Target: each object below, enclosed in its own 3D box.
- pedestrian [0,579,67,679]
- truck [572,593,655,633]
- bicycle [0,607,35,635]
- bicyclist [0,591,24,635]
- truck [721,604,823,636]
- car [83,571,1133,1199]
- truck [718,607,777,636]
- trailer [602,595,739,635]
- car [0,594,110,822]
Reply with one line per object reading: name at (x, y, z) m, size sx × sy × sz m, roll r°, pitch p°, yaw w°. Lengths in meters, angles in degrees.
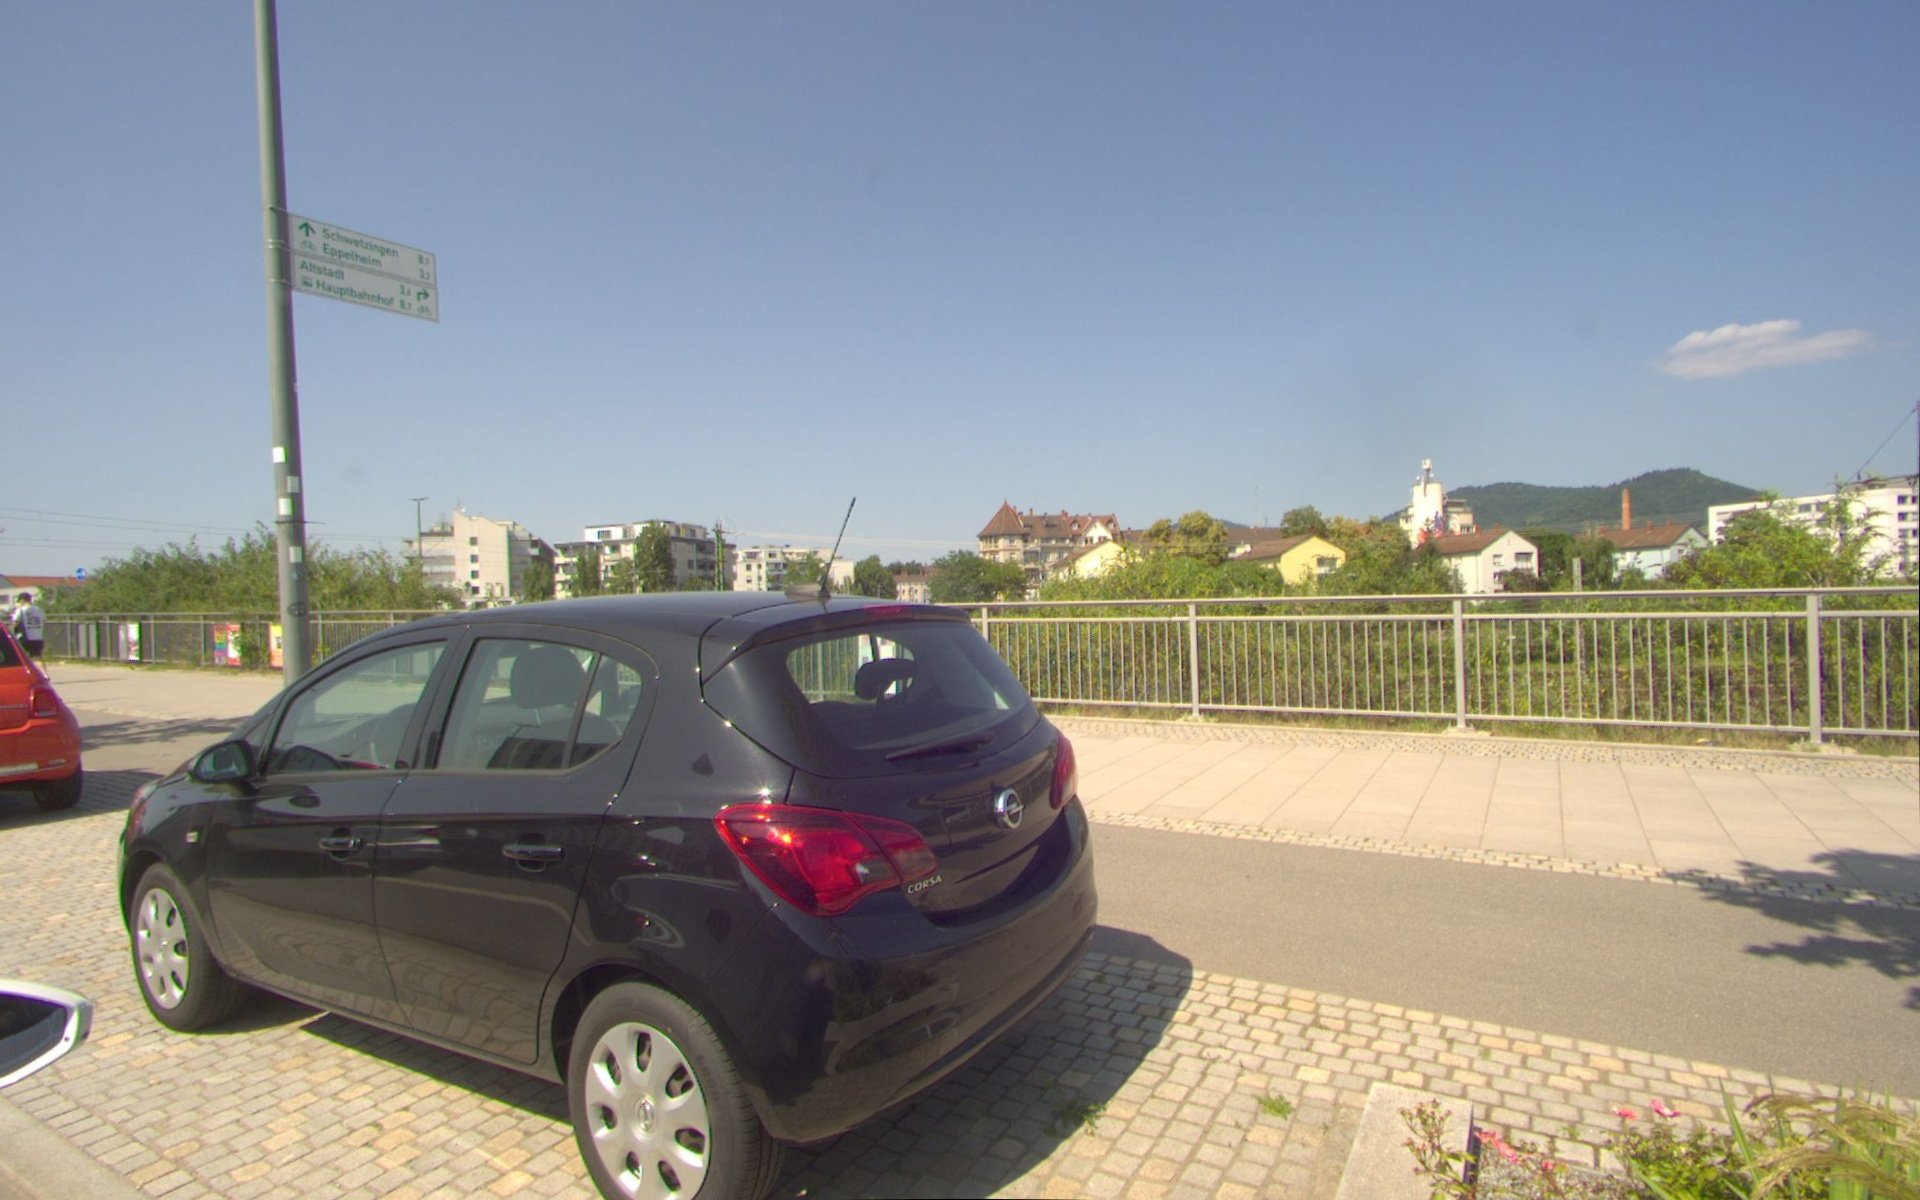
pedestrian at (-17.722, 0.555, 19.121) m, size 0.872 × 1.853 × 0.757 m, roll -1°, pitch -2°, yaw 32°
truck at (-29.517, 1.190, 85.626) m, size 3.672 × 3.244 × 6.485 m, roll -1°, pitch -2°, yaw 17°
bicycle at (-41.856, 0.941, 44.238) m, size 0.545 × 1.193 × 2.084 m, roll -1°, pitch -1°, yaw -17°
bicyclist at (-41.934, 0.569, 44.206) m, size 0.625 × 1.913 × 0.594 m, roll -1°, pitch 1°, yaw -17°
truck at (-21.127, 2.399, 114.440) m, size 3.674 × 3.243 × 17.876 m, roll -1°, pitch -3°, yaw 17°
car at (-1.342, 0.742, 3.498) m, size 3.495 × 1.577 × 1.577 m, roll -1°, pitch 2°, yaw 32°
truck at (-25.202, 2.608, 119.241) m, size 2.459 × 3.197 × 9.899 m, roll -1°, pitch -2°, yaw 16°
trailer at (-26.852, 1.561, 94.565) m, size 3.674 × 3.243 × 17.244 m, roll -1°, pitch -3°, yaw 17°
car at (-8.347, 0.779, 7.794) m, size 3.863 × 1.560 × 1.664 m, roll -1°, pitch 1°, yaw 35°
